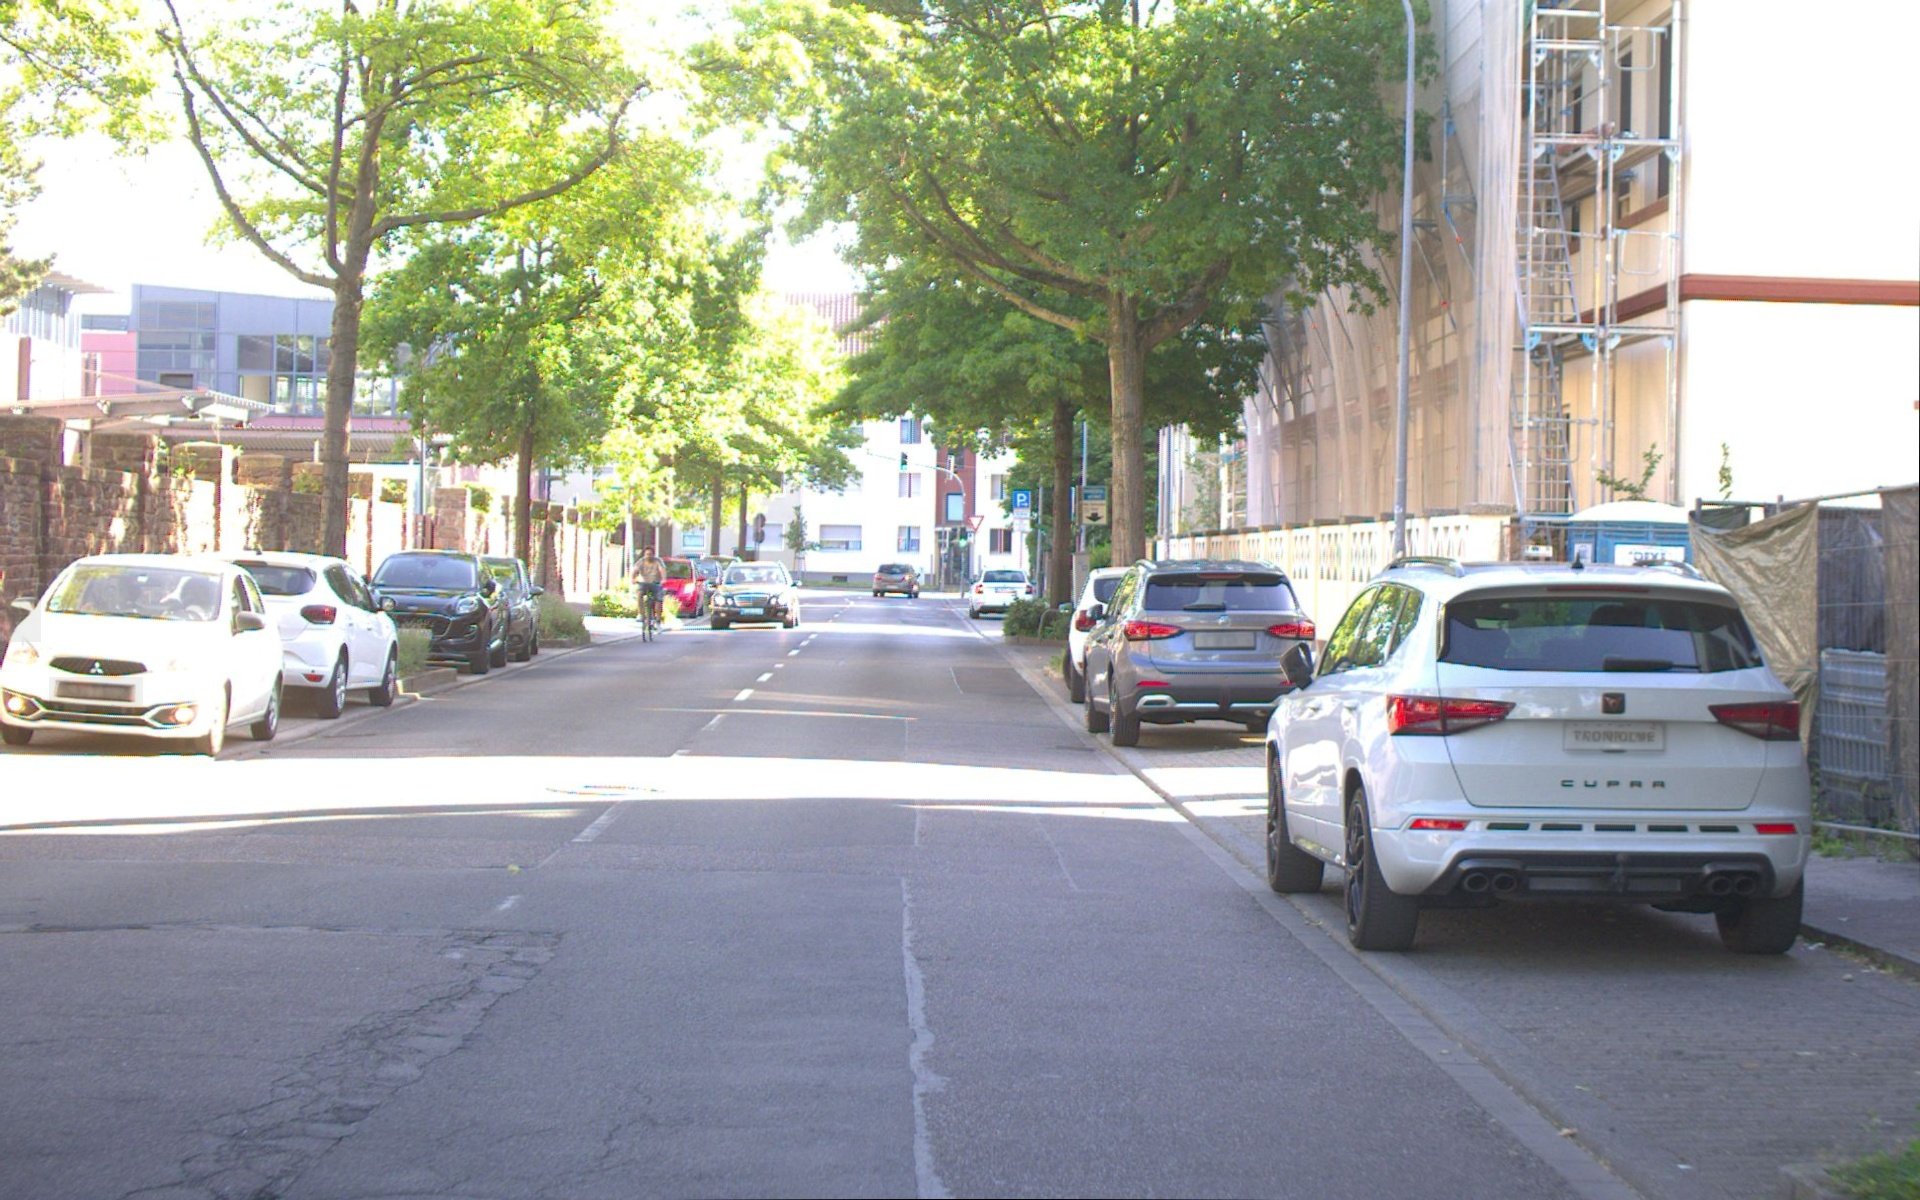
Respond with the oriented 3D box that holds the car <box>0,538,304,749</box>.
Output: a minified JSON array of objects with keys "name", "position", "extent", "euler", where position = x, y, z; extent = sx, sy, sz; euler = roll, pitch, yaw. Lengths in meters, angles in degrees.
[{"name":"car","position":[-6.273,0.293,26.880],"extent":[1.574,1.397,3.751],"euler":[5,1,-2]}]

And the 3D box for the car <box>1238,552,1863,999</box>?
[{"name":"car","position":[2.413,0.640,15.121],"extent":[1.792,1.610,4.127],"euler":[3,1,-2]}]

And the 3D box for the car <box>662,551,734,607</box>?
[{"name":"car","position":[-7.771,-0.632,102.216],"extent":[1.737,1.587,4.106],"euler":[2,1,0]}]

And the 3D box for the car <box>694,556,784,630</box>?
[{"name":"car","position":[-4.847,-0.172,75.754],"extent":[1.821,1.431,3.970],"euler":[4,1,-3]}]

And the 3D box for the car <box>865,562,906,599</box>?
[{"name":"car","position":[-3.173,-0.837,146.494],"extent":[1.639,1.438,3.421],"euler":[4,0,-1]}]

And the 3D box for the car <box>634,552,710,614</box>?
[{"name":"car","position":[-7.415,-0.444,88.809],"extent":[1.609,1.454,3.708],"euler":[4,0,-1]}]

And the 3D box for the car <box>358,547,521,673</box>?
[{"name":"car","position":[-6.722,0.104,44.711],"extent":[1.573,1.510,4.045],"euler":[2,1,-2]}]

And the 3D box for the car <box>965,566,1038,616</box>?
[{"name":"car","position":[1.149,-0.274,96.301],"extent":[1.832,1.318,4.496],"euler":[1,0,-2]}]

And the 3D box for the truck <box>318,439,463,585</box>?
[{"name":"truck","position":[-15.683,-2.372,95.186],"extent":[2.732,3.698,7.429],"euler":[4,0,-1]}]

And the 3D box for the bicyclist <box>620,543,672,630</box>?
[{"name":"bicyclist","position":[-5.666,-0.247,62.097],"extent":[0.721,1.517,1.005],"euler":[4,0,2]}]

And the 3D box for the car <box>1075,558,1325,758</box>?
[{"name":"car","position":[2.101,0.466,31.203],"extent":[1.712,1.632,4.303],"euler":[2,1,-3]}]

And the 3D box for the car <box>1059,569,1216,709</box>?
[{"name":"car","position":[2.025,0.413,39.892],"extent":[1.724,1.505,3.991],"euler":[0,1,2]}]

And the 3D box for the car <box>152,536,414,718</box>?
[{"name":"car","position":[-6.441,0.223,33.096],"extent":[1.676,1.506,3.849],"euler":[5,1,-1]}]

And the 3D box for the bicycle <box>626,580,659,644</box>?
[{"name":"bicycle","position":[-5.726,0.211,62.090],"extent":[0.357,1.117,1.866],"euler":[4,0,0]}]

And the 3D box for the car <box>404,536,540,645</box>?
[{"name":"car","position":[-7.071,-0.160,50.115],"extent":[1.686,1.417,3.839],"euler":[4,0,-5]}]
